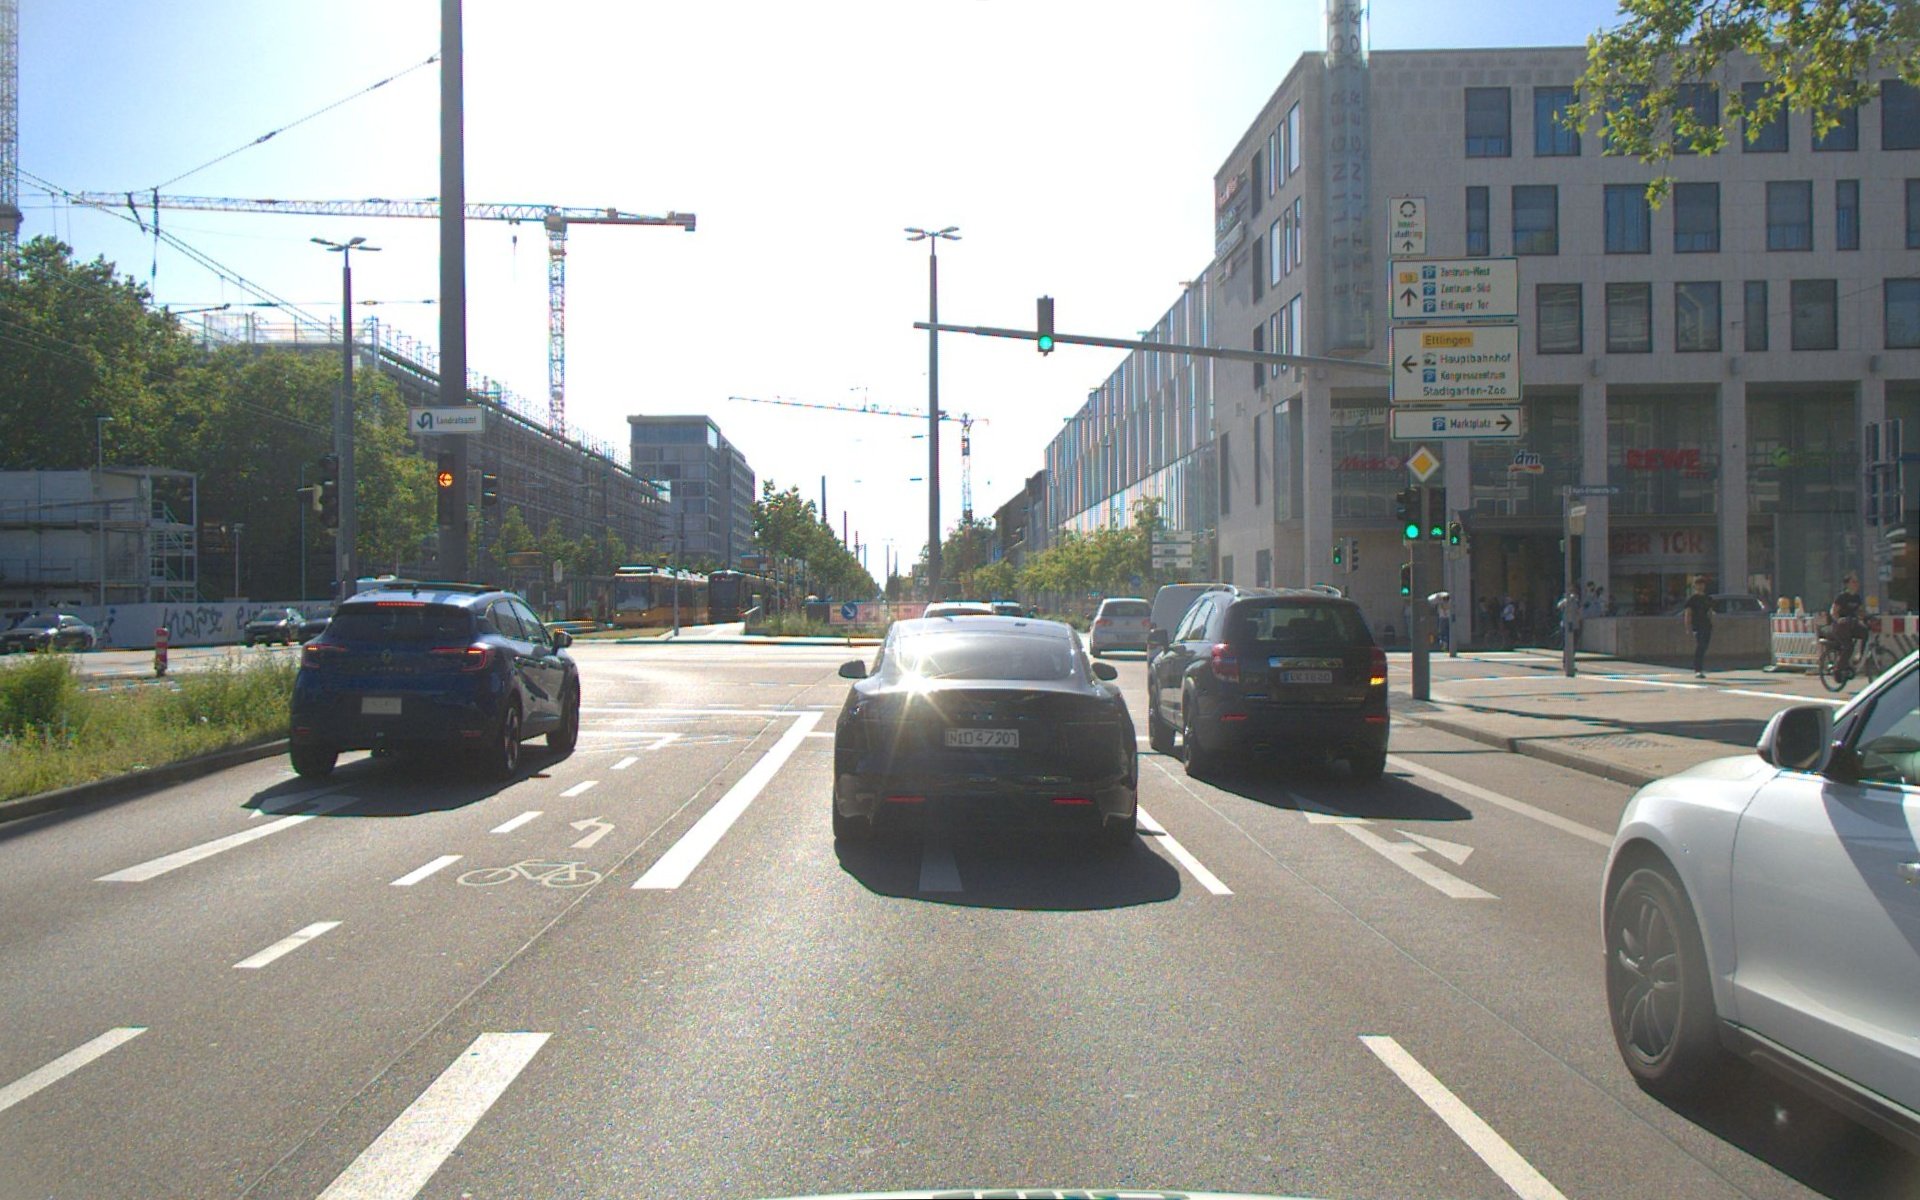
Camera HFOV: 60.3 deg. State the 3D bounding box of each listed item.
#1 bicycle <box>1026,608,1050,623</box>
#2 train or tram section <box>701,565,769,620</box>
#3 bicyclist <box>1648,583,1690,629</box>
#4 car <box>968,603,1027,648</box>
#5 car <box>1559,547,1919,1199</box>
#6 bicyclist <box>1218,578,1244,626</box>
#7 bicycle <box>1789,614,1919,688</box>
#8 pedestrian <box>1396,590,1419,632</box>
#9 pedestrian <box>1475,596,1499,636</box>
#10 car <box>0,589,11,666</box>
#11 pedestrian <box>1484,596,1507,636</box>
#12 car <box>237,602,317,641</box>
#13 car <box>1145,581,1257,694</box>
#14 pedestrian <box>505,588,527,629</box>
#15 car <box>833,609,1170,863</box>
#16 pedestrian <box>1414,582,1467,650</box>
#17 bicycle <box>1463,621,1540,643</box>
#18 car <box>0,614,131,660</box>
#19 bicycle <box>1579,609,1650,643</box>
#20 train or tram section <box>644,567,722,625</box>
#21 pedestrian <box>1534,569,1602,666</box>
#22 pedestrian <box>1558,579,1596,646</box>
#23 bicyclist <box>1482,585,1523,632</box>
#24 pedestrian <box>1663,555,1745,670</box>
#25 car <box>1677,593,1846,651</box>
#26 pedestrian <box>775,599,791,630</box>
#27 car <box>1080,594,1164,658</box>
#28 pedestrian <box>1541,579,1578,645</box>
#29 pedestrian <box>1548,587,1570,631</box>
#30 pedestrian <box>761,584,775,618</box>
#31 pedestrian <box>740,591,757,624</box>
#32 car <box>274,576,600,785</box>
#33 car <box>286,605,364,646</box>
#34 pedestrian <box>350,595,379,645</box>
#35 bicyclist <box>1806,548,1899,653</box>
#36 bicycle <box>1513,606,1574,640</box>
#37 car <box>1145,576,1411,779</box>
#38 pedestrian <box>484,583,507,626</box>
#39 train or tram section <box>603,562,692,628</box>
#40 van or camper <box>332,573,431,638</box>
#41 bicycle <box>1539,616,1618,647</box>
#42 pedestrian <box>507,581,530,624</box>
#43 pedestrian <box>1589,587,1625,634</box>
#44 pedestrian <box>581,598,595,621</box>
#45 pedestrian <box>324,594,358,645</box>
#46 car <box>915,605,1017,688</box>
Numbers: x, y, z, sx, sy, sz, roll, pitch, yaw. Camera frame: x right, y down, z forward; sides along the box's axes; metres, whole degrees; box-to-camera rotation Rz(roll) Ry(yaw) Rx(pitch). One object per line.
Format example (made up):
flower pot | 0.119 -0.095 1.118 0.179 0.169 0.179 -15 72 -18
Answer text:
bicycle | 6.586 1.292 140.022 1.848 1.171 0.669 -2 0 -12
train or tram section | -14.787 -0.444 109.815 2.812 3.337 15.179 1 0 -2
bicyclist | 22.846 0.204 53.307 0.913 1.458 1.041 -1 0 2
car | 1.120 0.764 51.229 1.681 1.343 3.999 0 0 -1
car | 3.088 0.699 3.819 1.782 1.642 4.412 0 0 -1
bicyclist | 10.133 0.069 61.820 0.711 1.767 0.996 -1 -1 -5
bicycle | 13.106 0.719 24.229 0.863 1.002 2.050 -1 0 -2
pedestrian | 17.870 0.430 66.067 0.732 1.636 0.556 -1 0 -3
pedestrian | 21.860 0.654 68.633 0.551 1.636 0.740 -1 1 -38
car | -25.646 0.725 41.129 1.832 1.990 3.999 -1 0 -1
pedestrian | 22.363 0.669 69.053 0.551 1.636 0.740 -1 1 -38
car | -31.633 0.959 76.768 1.953 1.737 4.558 0 0 -2
car | 4.110 0.579 28.104 1.746 1.764 4.167 0 0 9
pedestrian | -20.198 0.368 75.315 0.784 1.855 0.975 -1 0 -4
car | 0.224 0.804 11.864 1.958 1.459 4.412 0 0 -1
pedestrian | 13.635 0.449 46.993 0.947 1.833 1.522 -2 0 -2
bicycle | 17.479 1.031 53.391 2.147 0.683 1.072 -1 0 2
car | -33.571 1.367 62.019 1.959 1.629 3.988 -1 0 34
bicycle | 22.243 0.872 56.323 1.044 1.113 3.497 0 0 0
train or tram section | -17.664 -0.147 106.714 2.790 3.380 15.959 1 -1 -2
pedestrian | 13.030 0.360 35.449 0.930 2.049 1.076 0 0 -13
pedestrian | 15.380 0.306 41.235 0.648 1.641 0.526 -2 0 -10
bicyclist | 17.510 0.282 53.407 1.000 1.502 1.072 -1 0 2
pedestrian | 13.520 0.215 30.089 0.929 2.049 1.077 0 0 -9
car | 23.716 0.656 49.050 4.099 1.641 1.861 -1 -2 0
pedestrian | -9.543 0.761 89.169 0.726 1.657 0.861 0 -1 -1
car | 4.146 0.630 42.918 1.748 1.573 4.038 0 0 -1
pedestrian | 15.156 0.299 41.796 0.648 1.641 0.526 -2 0 -10
pedestrian | 24.970 0.362 68.974 0.551 1.793 0.641 -1 1 -38
pedestrian | -10.395 0.058 89.400 0.689 1.806 0.958 1 0 -5
pedestrian | -11.797 0.410 92.306 0.857 1.806 1.188 1 0 -5
car | -4.567 0.640 15.094 1.734 1.616 4.087 1 0 -2
car | -27.610 1.081 72.079 1.907 1.737 4.364 0 0 -3
pedestrian | -22.378 0.739 62.158 0.784 1.855 0.975 -1 0 -4
bicyclist | 13.099 0.006 24.301 0.863 1.502 0.883 -1 0 -2
bicycle | 19.953 0.762 56.648 1.044 1.113 2.991 0 0 0
car | 2.962 0.657 16.333 1.748 1.729 4.412 0 0 -1
pedestrian | -20.587 0.191 73.244 0.784 1.855 0.975 -1 0 -4
train or tram section | -17.253 -0.257 92.206 2.812 3.367 13.067 1 0 -2
van or camper | -27.957 0.249 80.255 2.553 2.988 7.337 -1 0 -3
bicycle | 19.937 1.006 53.332 2.147 0.960 1.072 -1 0 2
pedestrian | -19.195 0.112 71.884 0.784 1.855 0.975 -1 0 -4
pedestrian | 23.911 0.372 61.128 0.957 1.713 0.860 0 0 -4
pedestrian | -20.806 0.523 92.512 0.658 1.248 0.505 1 -1 -5
pedestrian | -22.648 0.715 60.523 0.785 1.855 0.880 -1 0 30
car | 0.064 0.778 29.346 1.681 1.343 3.999 0 0 -1
